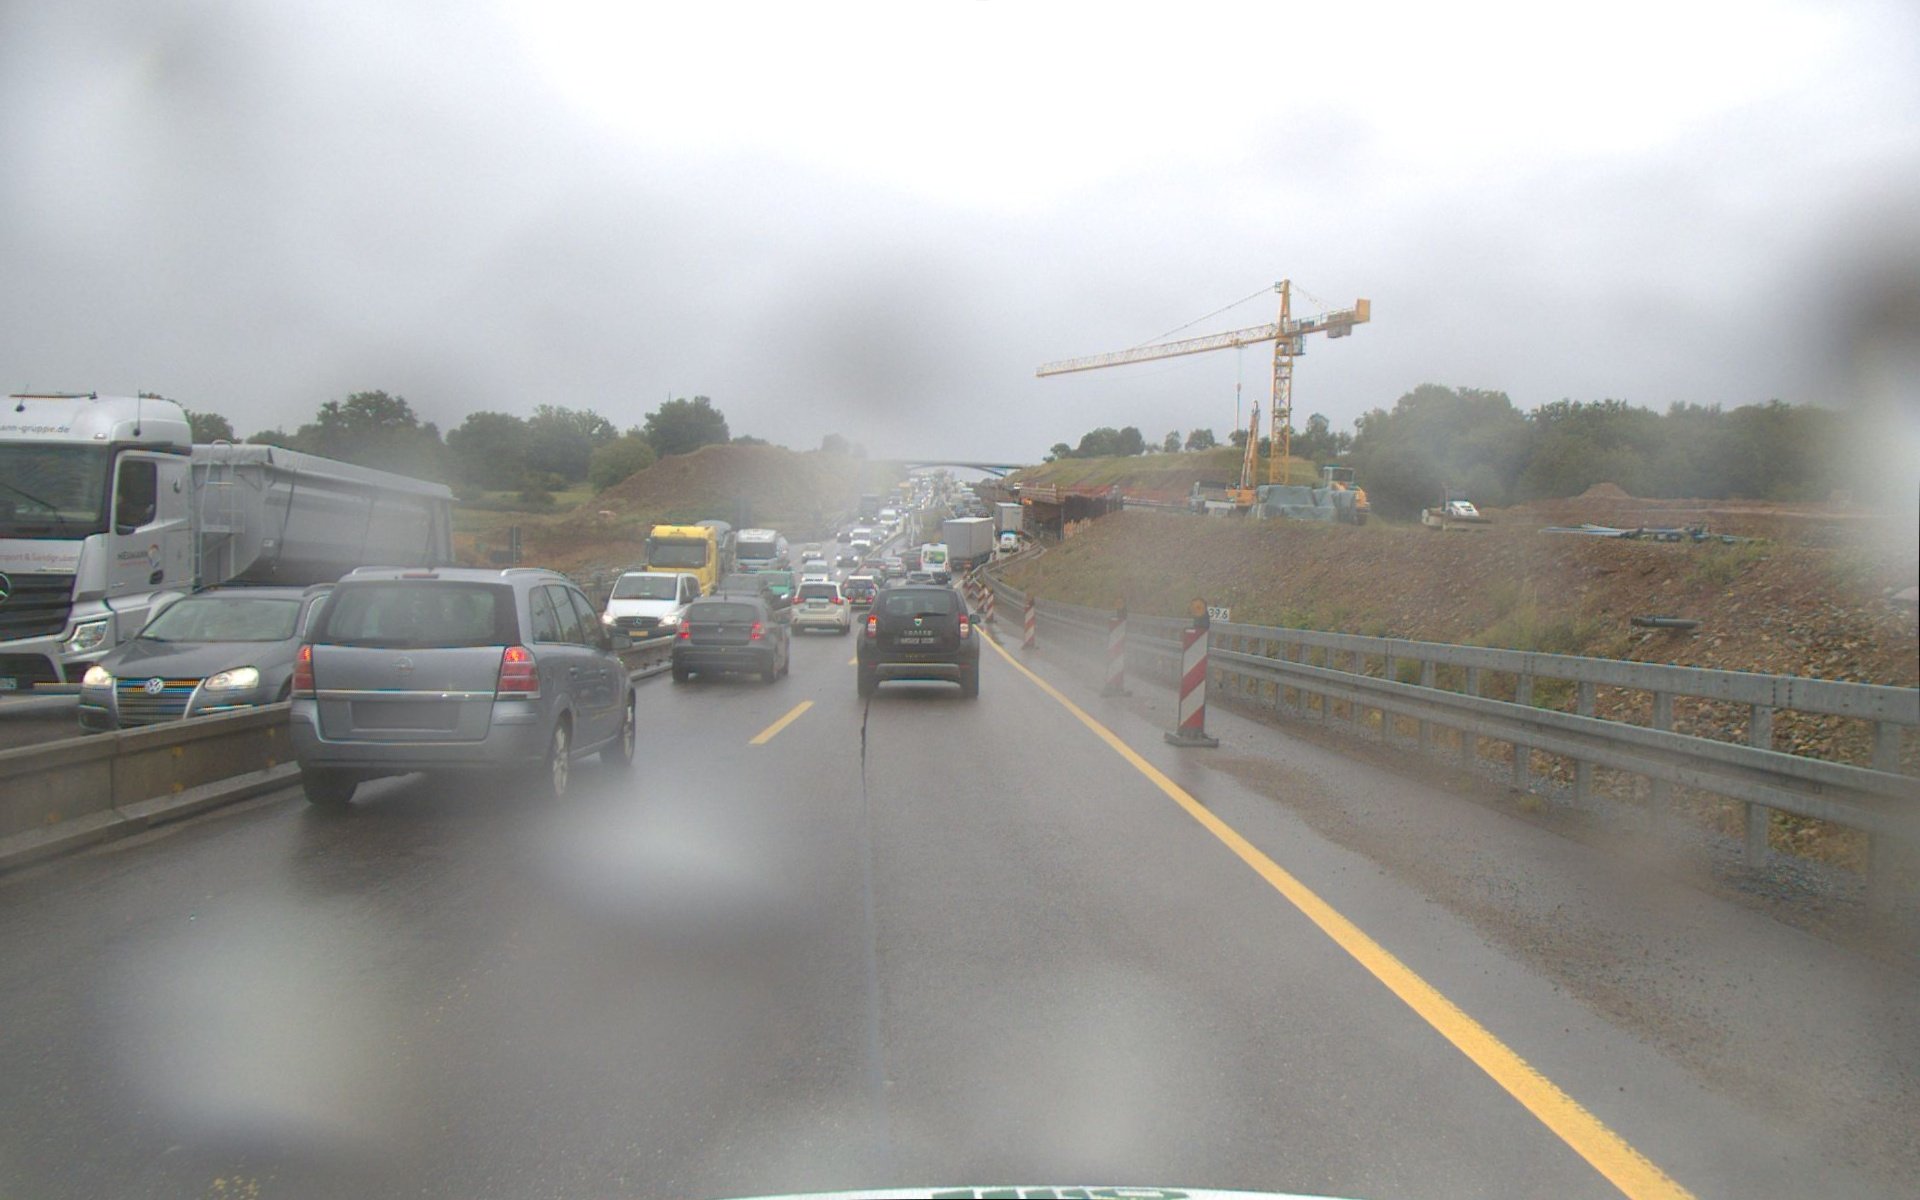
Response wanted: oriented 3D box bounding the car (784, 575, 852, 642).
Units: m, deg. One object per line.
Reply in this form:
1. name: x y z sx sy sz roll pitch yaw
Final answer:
1. car: -4.506 0.252 53.055 1.953 2.049 3.892 1 0 -2

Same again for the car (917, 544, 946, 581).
1. car: -2.012 -2.649 118.878 1.952 2.527 4.982 1 0 0

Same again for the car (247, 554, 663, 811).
1. car: -3.624 0.517 12.741 1.953 1.628 4.140 1 0 -1

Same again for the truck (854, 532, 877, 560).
1. truck: -9.395 -5.349 164.510 2.037 2.621 5.960 1 0 -2

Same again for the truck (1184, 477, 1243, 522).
1. truck: 16.784 -6.604 109.890 2.592 2.599 6.982 1 0 -2

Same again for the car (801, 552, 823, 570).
1. car: -13.200 -3.475 147.631 1.752 1.573 3.999 1 1 -2

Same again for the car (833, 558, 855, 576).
1. car: -9.997 -2.840 143.043 1.737 1.530 4.678 1 1 -2

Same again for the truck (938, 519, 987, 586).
1. truck: 0.283 -3.946 140.680 3.036 5.520 9.450 1 0 6

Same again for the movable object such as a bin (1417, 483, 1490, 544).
1. movable object such as a bin: 32.064 -5.568 107.637 2.295 3.662 6.555 1 0 -4

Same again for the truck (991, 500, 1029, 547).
1. truck: 5.939 -9.184 199.515 3.727 5.130 12.917 1 0 -2

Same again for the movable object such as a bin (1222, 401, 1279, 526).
1. movable object such as a bin: 27.716 -12.804 157.223 4.618 11.031 10.312 1 0 13

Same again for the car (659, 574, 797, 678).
1. car: -3.893 0.400 28.390 1.954 1.628 4.138 1 0 -3

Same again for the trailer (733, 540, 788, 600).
1. trailer: -13.102 -1.952 109.370 2.567 3.741 12.000 1 1 -2

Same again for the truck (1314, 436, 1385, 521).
1. truck: 21.563 -6.654 91.902 2.325 4.292 5.977 1 0 -2

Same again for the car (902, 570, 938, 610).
1. car: -2.273 -0.568 95.360 1.953 2.200 4.140 1 0 -1

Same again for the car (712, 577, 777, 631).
1. car: -7.704 0.124 59.462 1.751 1.837 5.188 0 0 -1

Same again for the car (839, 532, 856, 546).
1. car: -12.727 -6.880 186.718 1.751 1.565 4.311 1 1 -2

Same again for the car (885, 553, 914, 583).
1. car: -4.614 -2.428 126.951 1.952 2.200 4.141 1 0 2

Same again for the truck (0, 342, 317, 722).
1. truck: -10.099 -0.738 20.040 2.631 3.995 5.272 0 0 -1

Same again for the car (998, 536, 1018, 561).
1. car: 4.986 -5.371 172.643 1.953 2.527 4.741 1 0 0

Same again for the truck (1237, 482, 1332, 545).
1. truck: 17.205 -4.548 88.340 3.326 2.925 8.960 1 0 0

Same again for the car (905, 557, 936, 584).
1. car: -3.306 -2.462 138.268 1.951 2.200 4.144 1 0 8

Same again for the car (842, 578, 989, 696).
1. car: -0.649 0.501 25.285 2.039 1.628 4.140 1 0 -1

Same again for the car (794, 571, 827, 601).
1. car: -9.307 -0.879 103.205 1.828 1.831 4.161 1 1 -2

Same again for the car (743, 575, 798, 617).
1. car: -8.347 -0.215 73.218 1.953 1.789 4.687 1 1 -1

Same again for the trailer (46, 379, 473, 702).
1. trailer: -10.225 -0.792 25.648 2.631 4.032 9.817 0 0 -1

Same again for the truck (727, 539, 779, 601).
1. truck: -12.889 -1.869 103.509 2.567 3.741 6.593 1 1 -2

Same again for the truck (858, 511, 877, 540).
1. truck: -13.290 -10.706 237.551 2.588 4.038 9.212 1 3 -2

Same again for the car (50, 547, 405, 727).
1. car: -6.784 0.293 15.817 1.675 1.479 3.999 1 0 -1

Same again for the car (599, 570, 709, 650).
1. car: -7.421 0.210 40.587 1.837 1.824 5.358 0 0 -2

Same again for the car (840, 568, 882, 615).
1. car: -4.902 -0.423 81.430 1.954 2.200 4.137 1 0 -4

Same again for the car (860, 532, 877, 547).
1. car: -10.162 -6.727 183.109 1.751 1.565 4.311 1 1 -2

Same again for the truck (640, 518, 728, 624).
1. truck: -11.325 -1.171 68.414 2.694 4.133 6.146 1 0 -1
